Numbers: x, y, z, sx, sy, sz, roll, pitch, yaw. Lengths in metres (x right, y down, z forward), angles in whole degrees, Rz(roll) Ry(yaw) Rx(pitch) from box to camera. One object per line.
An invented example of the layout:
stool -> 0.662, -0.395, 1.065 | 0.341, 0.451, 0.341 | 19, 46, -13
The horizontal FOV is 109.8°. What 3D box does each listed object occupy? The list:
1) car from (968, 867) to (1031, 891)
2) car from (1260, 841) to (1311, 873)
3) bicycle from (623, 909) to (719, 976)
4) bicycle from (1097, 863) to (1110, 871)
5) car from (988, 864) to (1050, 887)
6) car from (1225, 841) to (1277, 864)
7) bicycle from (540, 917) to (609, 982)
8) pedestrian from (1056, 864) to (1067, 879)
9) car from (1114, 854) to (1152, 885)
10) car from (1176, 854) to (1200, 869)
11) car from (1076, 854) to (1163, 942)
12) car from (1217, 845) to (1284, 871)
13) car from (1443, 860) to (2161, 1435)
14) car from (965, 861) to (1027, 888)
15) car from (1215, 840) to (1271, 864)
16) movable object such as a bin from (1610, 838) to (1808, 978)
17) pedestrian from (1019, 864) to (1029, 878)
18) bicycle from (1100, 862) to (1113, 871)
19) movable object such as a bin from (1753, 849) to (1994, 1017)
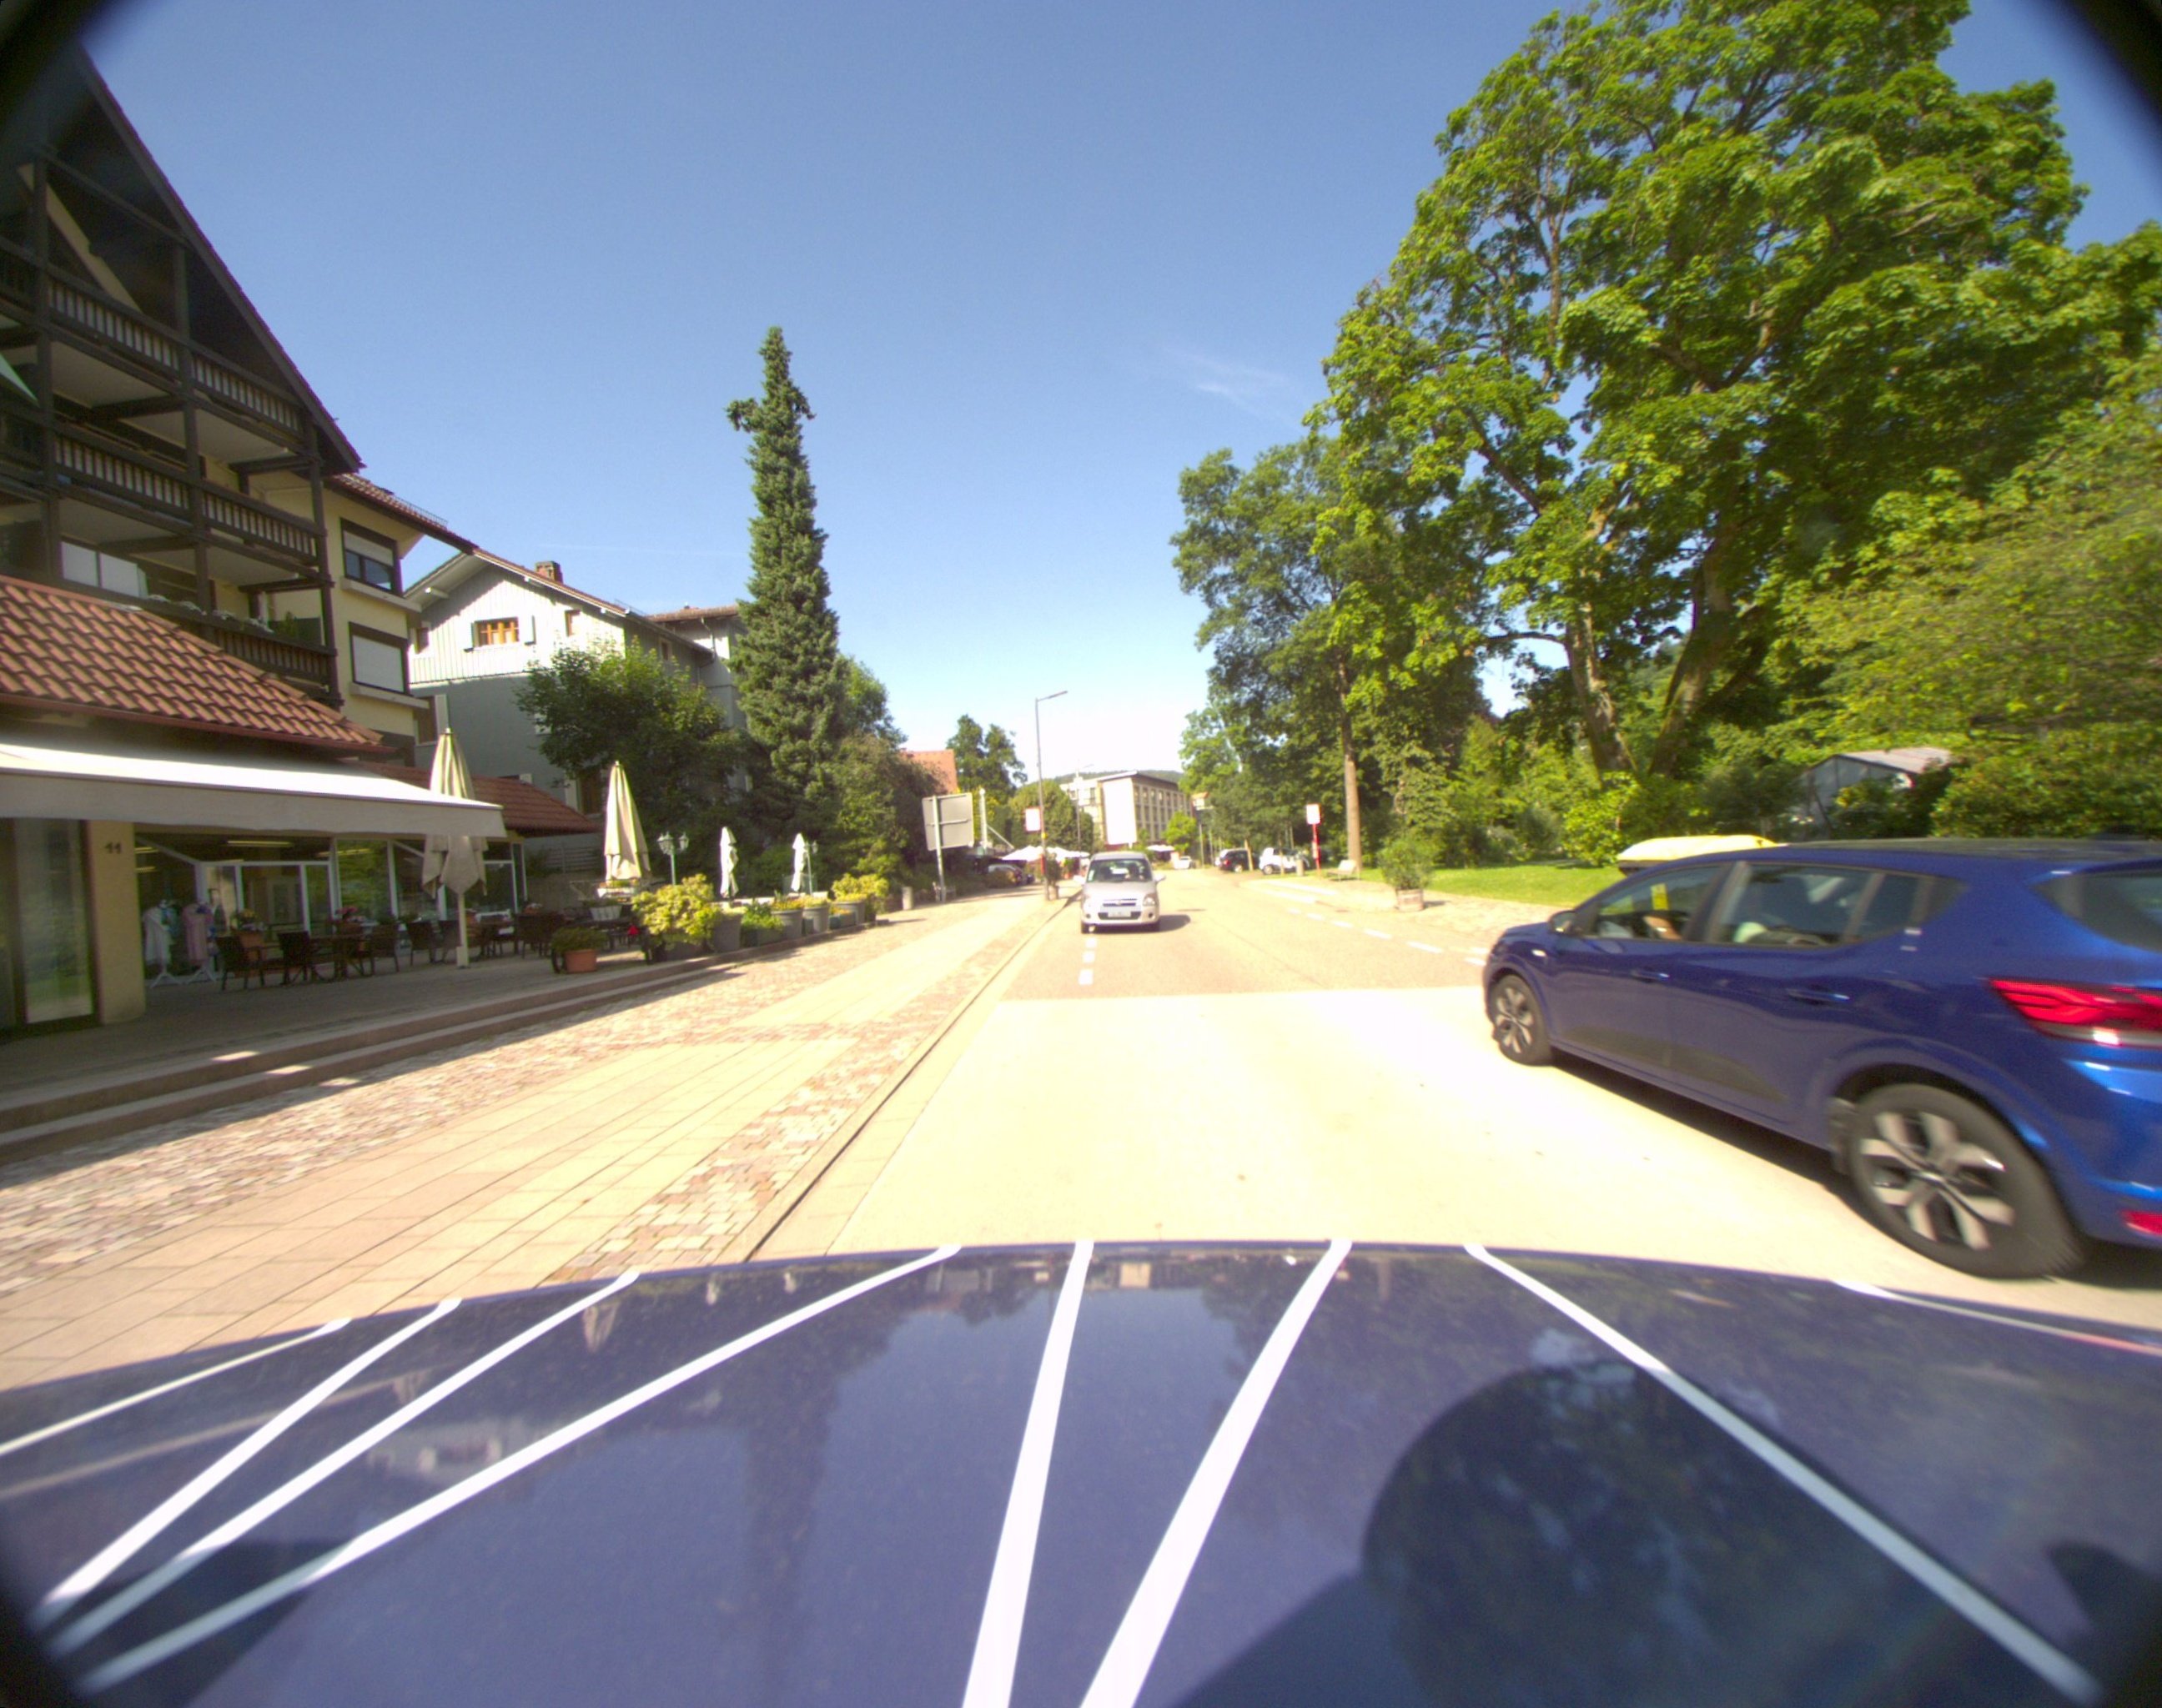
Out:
car -> -5.736, 1.764, 53.826 | 4.118, 1.407, 1.749 | -4, 0, 6
car -> 11.975, 0.168, 44.583 | 2.656, 1.537, 1.683 | -6, 0, 10
bicycle -> -6.571, 1.394, 12.264 | 0.397, 0.858, 1.617 | -4, 0, 10
bicycle -> 2.549, 1.467, 87.449 | 1.543, 0.904, 0.385 | -1, 0, 39
car -> -4.614, 1.581, 56.473 | 4.271, 1.371, 1.710 | -4, 0, 6
car -> 15.895, -0.163, 71.223 | 4.492, 1.654, 1.811 | -6, 0, 7
bicycle -> -7.970, 1.476, 12.010 | 0.397, 0.837, 1.614 | -5, 0, -17
pedestrian -> -1.678, 1.524, 65.015 | 0.812, 1.253, 0.700 | -3, 0, -4
car -> 2.912, 0.824, 42.060 | 1.739, 1.488, 3.931 | -5, 0, 8
car -> 12.958, 0.906, 91.953 | 1.652, 1.462, 4.006 | -6, -1, 24
car -> 0.804, 0.848, 16.533 | 1.604, 1.628, 4.000 | -2, 0, 2
car -> 12.133, 0.290, 54.402 | 4.287, 1.423, 1.713 | -6, 0, -2
car -> 3.730, 0.797, 3.875 | 1.745, 1.454, 4.187 | -2, 0, 0
car -> -5.736, 1.351, 51.512 | 3.885, 1.571, 1.748 | -4, 0, 1
car -> 13.938, -0.187, 65.264 | 4.490, 1.409, 1.811 | -8, 0, 16
movable object such as a bin -> 7.328, 0.592, 8.974 | 1.081, 1.419, 1.377 | -6, 0, 1
pedestrian -> -5.382, 1.567, 71.840 | 0.639, 1.297, 0.579 | -3, 0, -31
bicycle -> 2.965, 1.488, 88.128 | 1.544, 0.977, 0.385 | -2, 0, 39
movable object such as a bin -> 7.212, 0.669, 7.012 | 0.757, 1.333, 1.295 | -6, 0, 1
